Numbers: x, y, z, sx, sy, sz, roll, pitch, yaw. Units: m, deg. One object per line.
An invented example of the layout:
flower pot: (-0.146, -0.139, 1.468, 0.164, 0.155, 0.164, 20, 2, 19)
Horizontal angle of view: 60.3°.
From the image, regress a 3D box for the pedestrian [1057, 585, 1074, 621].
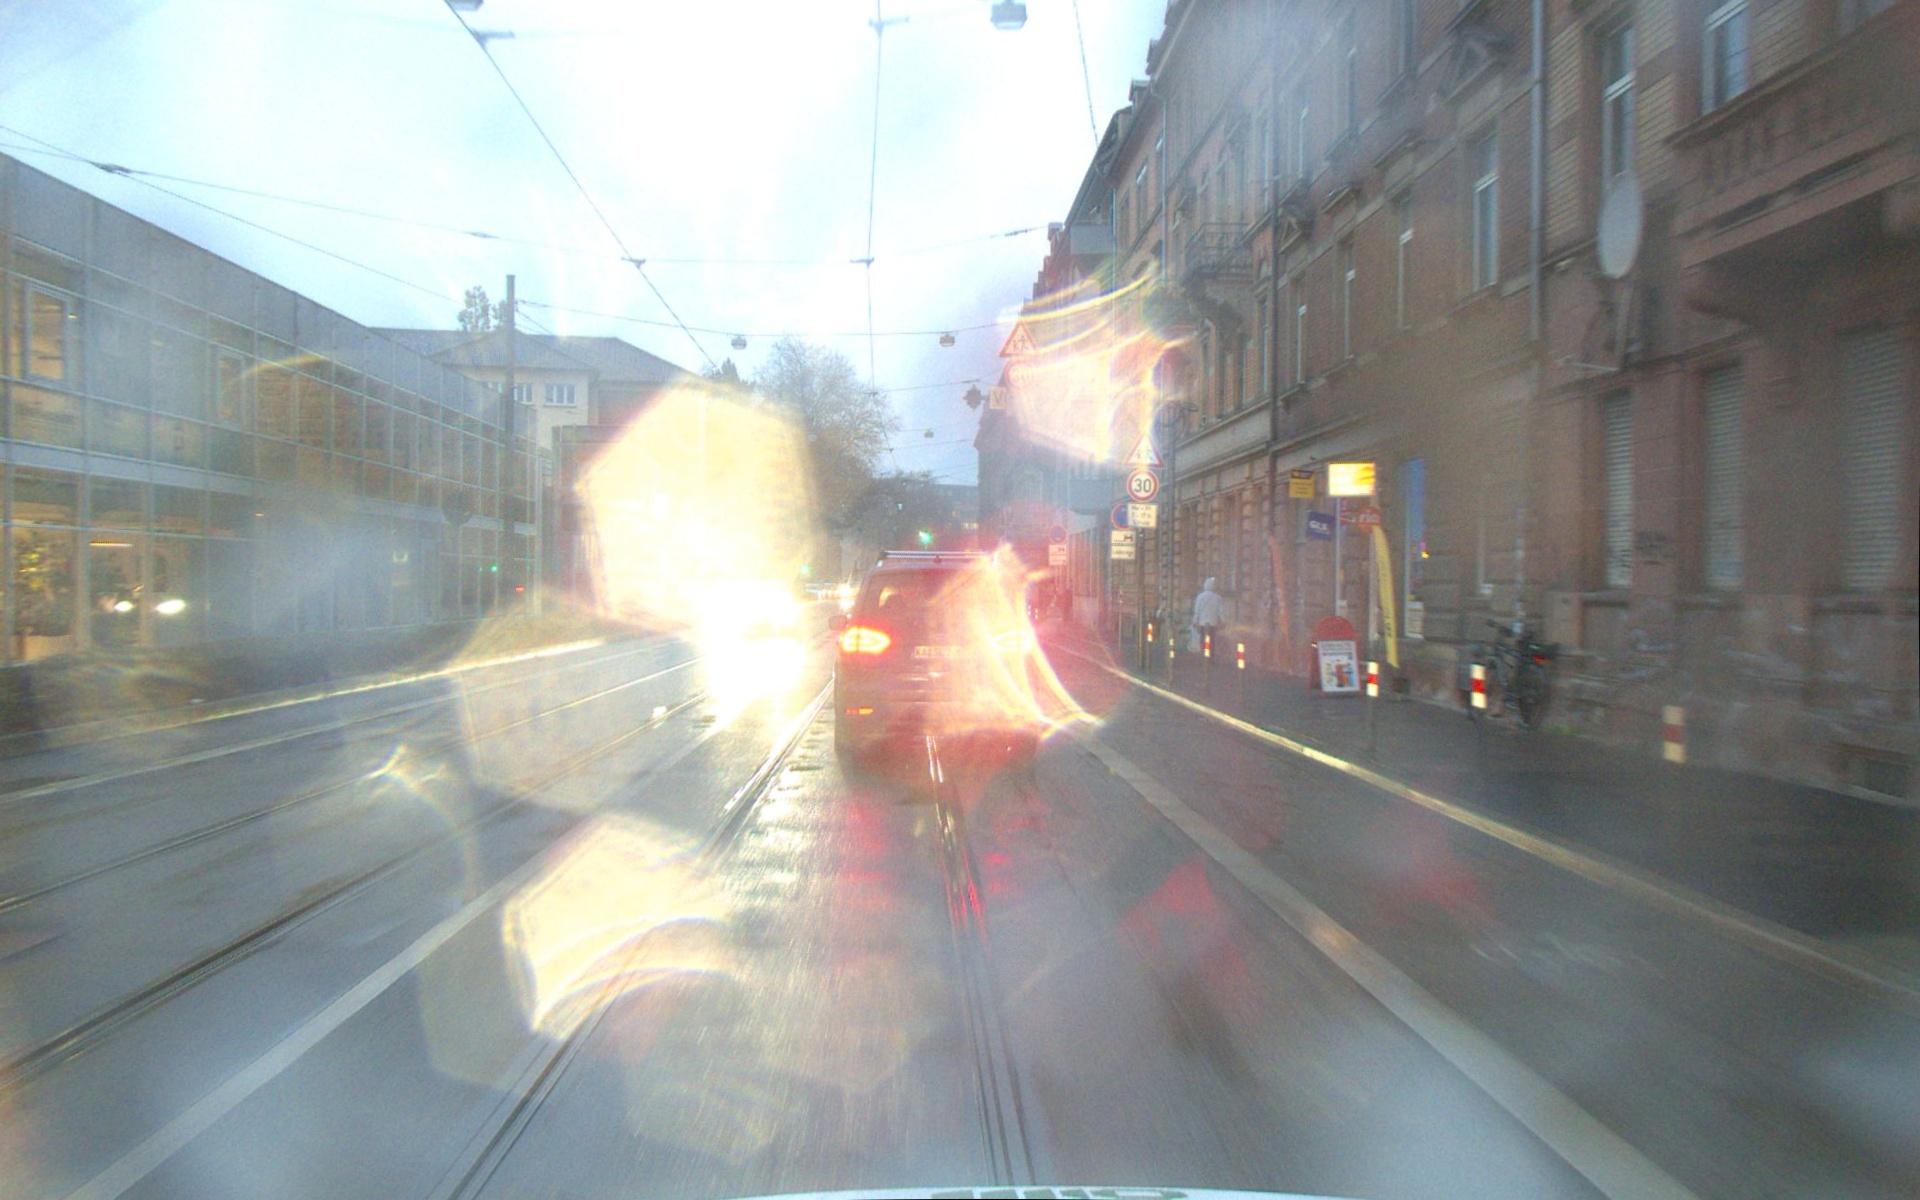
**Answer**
pedestrian: (4.147, 0.129, 64.920, 0.588, 1.401, 0.728, 1, 0, -2)

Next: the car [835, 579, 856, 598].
car: (-11.060, -1.097, 159.710, 1.838, 1.739, 4.758, -1, 1, -3)

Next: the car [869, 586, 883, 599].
car: (-9.398, -0.867, 185.445, 1.499, 1.507, 3.560, 0, 1, -2)

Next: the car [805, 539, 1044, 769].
car: (-0.258, 0.431, 15.591, 1.952, 1.874, 4.001, 0, 0, 1)

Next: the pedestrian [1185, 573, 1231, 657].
pedestrian: (4.850, 0.290, 32.383, 0.770, 1.625, 0.742, 0, 0, -1)

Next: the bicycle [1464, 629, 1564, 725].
bicycle: (5.917, 0.802, 17.757, 0.389, 0.927, 1.866, 0, 0, -2)

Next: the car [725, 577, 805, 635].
car: (-5.614, 0.151, 48.000, 1.803, 1.606, 4.442, 0, 0, 0)
